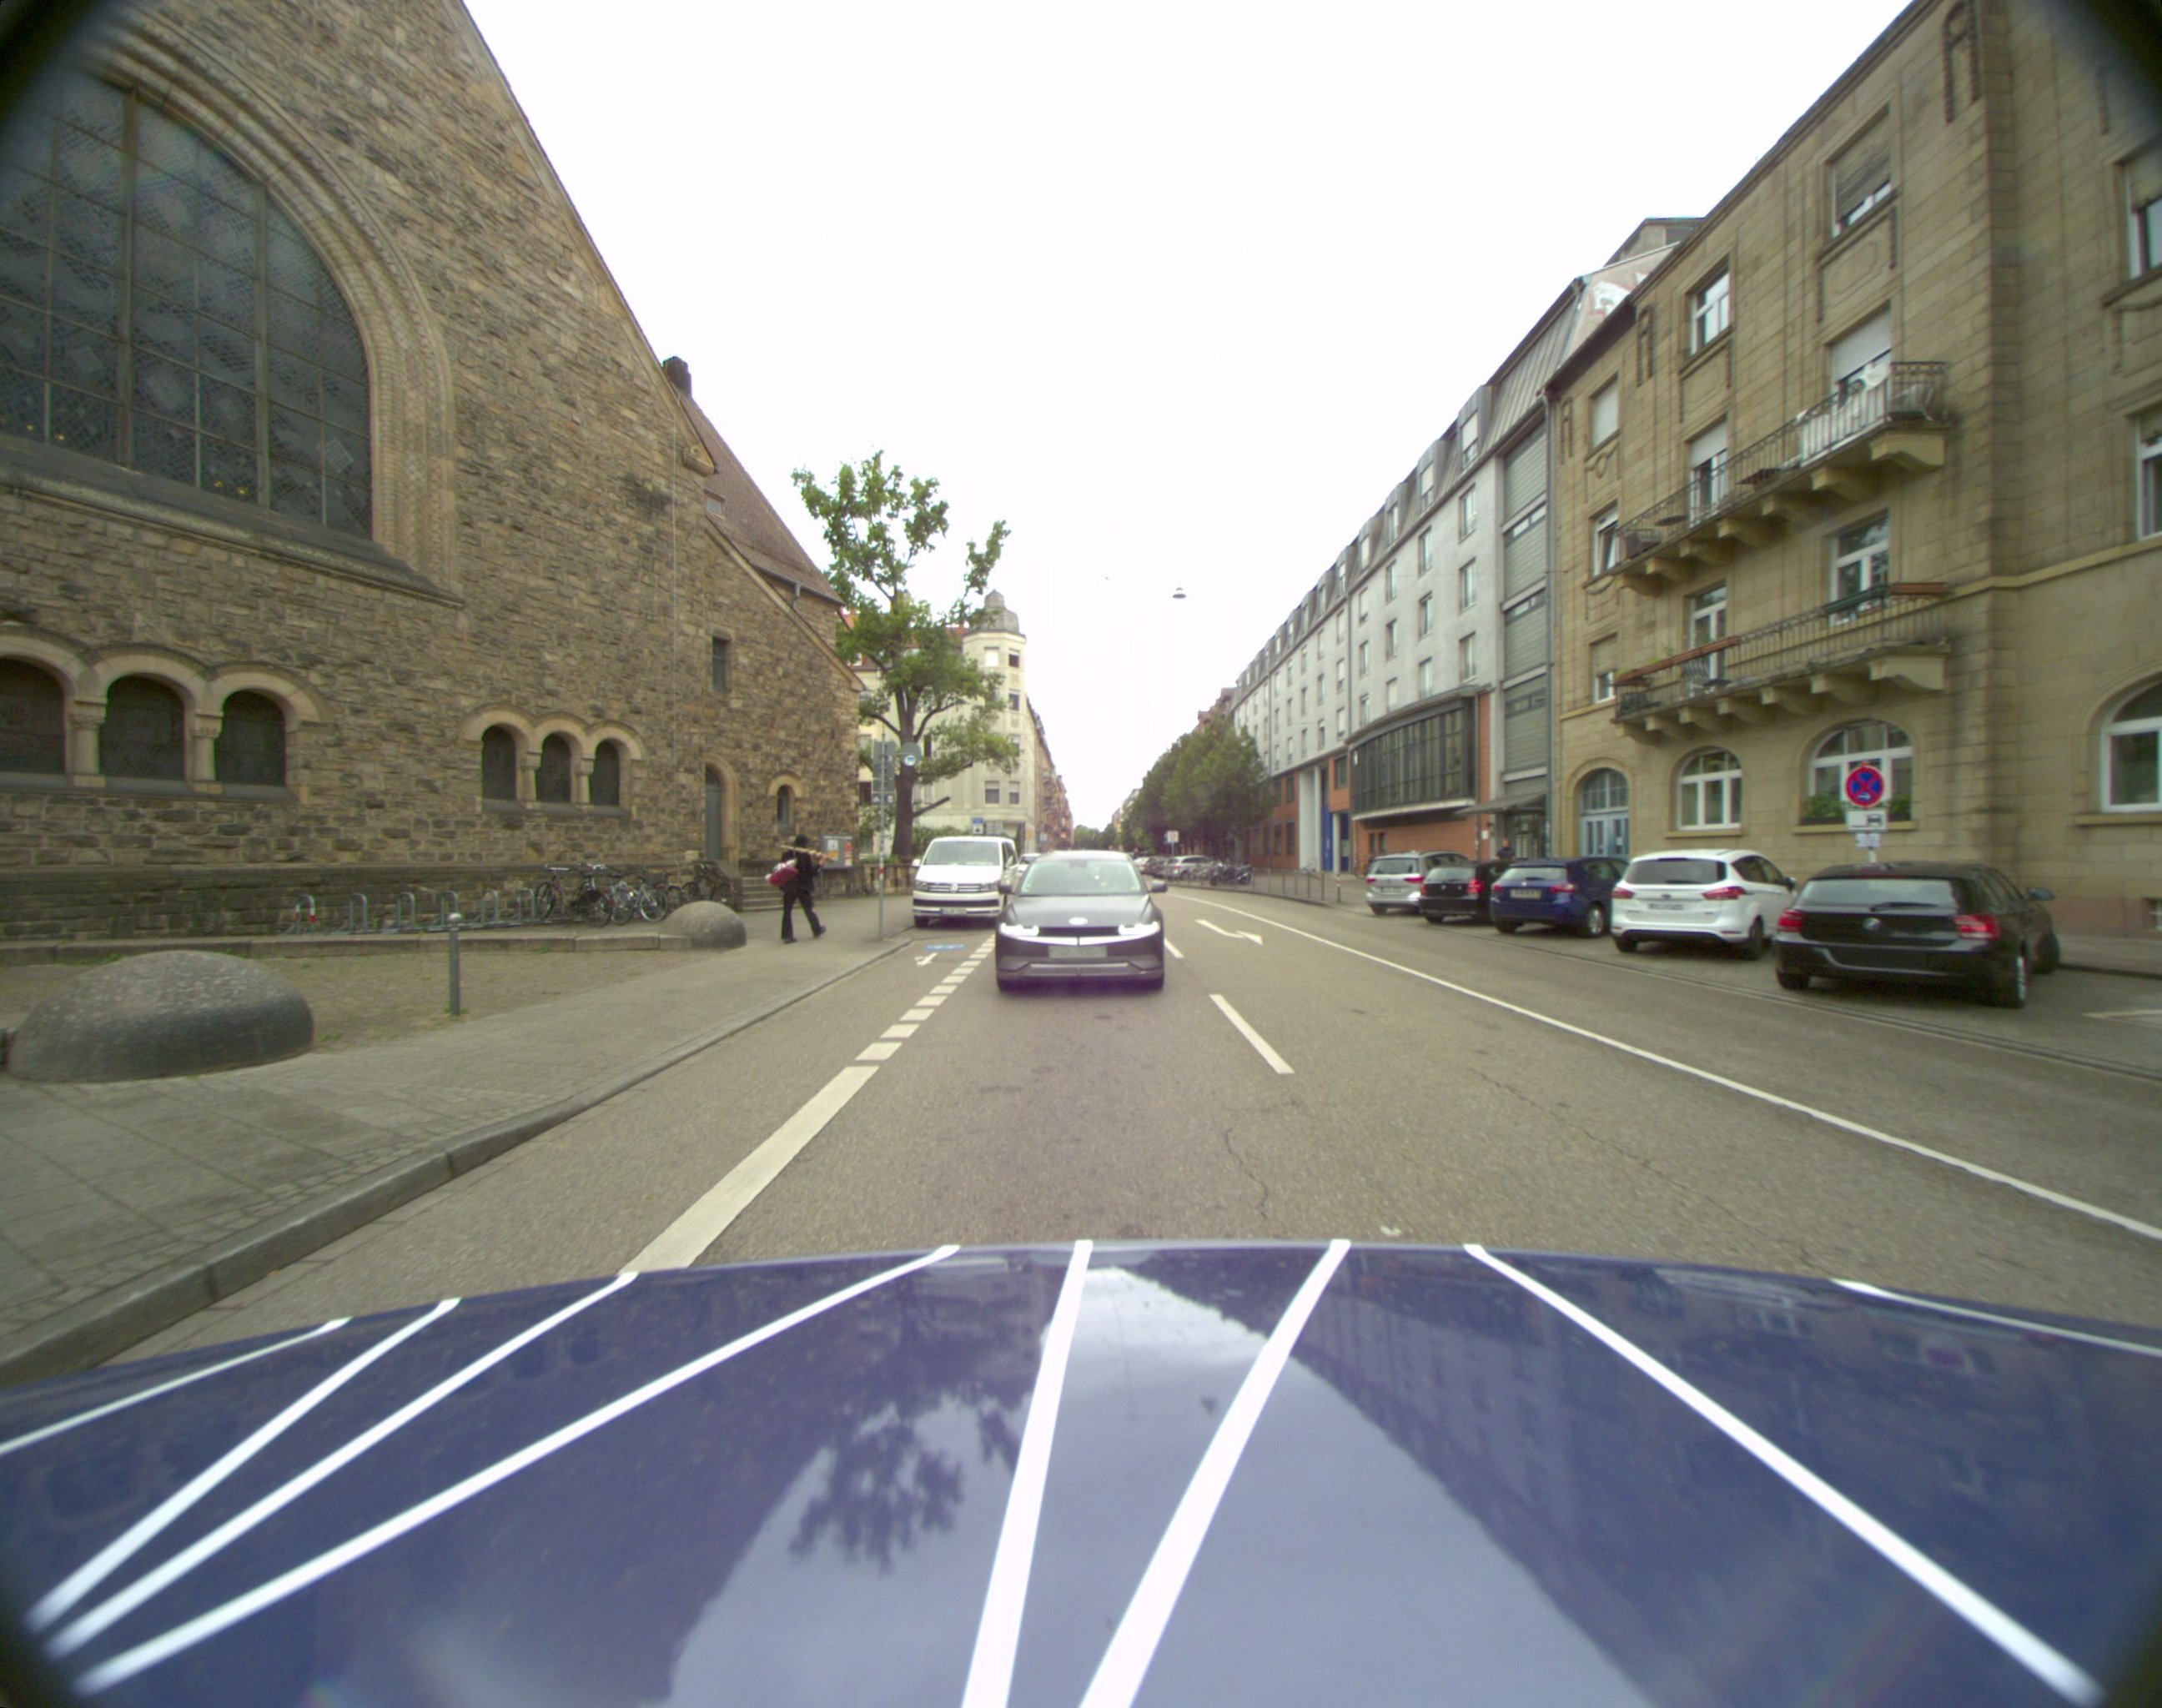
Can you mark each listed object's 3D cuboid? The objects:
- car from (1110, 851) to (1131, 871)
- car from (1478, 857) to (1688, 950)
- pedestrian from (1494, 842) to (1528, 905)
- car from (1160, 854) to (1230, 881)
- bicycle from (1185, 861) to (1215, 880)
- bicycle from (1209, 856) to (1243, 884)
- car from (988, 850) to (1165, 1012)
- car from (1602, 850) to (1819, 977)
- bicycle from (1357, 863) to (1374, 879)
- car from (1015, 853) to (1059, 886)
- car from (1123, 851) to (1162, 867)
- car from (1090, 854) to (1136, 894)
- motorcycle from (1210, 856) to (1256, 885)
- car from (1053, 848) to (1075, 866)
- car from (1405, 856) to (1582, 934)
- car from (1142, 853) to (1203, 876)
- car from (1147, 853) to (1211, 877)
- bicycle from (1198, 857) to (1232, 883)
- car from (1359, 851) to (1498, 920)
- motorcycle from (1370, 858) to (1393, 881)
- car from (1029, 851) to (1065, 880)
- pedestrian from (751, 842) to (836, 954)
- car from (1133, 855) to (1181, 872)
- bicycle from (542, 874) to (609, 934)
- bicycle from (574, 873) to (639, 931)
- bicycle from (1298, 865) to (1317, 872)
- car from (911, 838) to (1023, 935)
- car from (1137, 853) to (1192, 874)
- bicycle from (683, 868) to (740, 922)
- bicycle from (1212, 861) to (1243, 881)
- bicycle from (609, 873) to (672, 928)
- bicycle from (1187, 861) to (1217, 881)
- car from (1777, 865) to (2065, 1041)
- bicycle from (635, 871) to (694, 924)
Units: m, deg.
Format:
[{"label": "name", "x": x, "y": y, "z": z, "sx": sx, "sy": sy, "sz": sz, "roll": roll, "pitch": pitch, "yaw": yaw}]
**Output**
[{"label": "car", "x": 3.779, "y": 0.648, "z": 72.959, "sx": 1.698, "sy": 1.793, "sz": 4.129, "roll": 0, "pitch": 0, "yaw": -1}, {"label": "car", "x": 9.719, "y": 0.867, "z": 14.695, "sx": 3.754, "sy": 1.437, "sz": 1.820, "roll": -3, "pitch": 0, "yaw": -29}, {"label": "pedestrian", "x": 12.439, "y": 0.552, "z": 21.996, "sx": 0.621, "sy": 1.812, "sz": 0.642, "roll": 0, "pitch": 1, "yaw": 1}, {"label": "car", "x": 7.149, "y": 0.818, "z": 47.530, "sx": 4.004, "sy": 1.619, "sz": 1.769, "roll": 0, "pitch": 0, "yaw": -22}, {"label": "bicycle", "x": 6.834, "y": 0.952, "z": 43.553, "sx": 1.630, "sy": 1.067, "sz": 0.416, "roll": -2, "pitch": 1, "yaw": 0}, {"label": "bicycle", "x": 7.355, "y": 0.801, "z": 38.565, "sx": 1.630, "sy": 1.345, "sz": 0.416, "roll": -2, "pitch": 1, "yaw": 0}, {"label": "car", "x": -0.001, "y": 0.792, "z": 9.841, "sx": 1.820, "sy": 1.675, "sz": 4.000, "roll": 0, "pitch": 0, "yaw": 1}, {"label": "car", "x": 10.002, "y": 0.805, "z": 11.986, "sx": 4.007, "sy": 1.545, "sz": 1.699, "roll": -3, "pitch": 0, "yaw": -37}, {"label": "bicycle", "x": 14.404, "y": 0.836, "z": 38.468, "sx": 0.336, "sy": 0.783, "sz": 1.581, "roll": 0, "pitch": 0, "yaw": 2}, {"label": "car", "x": -2.098, "y": 0.729, "z": 37.357, "sx": 1.820, "sy": 1.556, "sz": 4.000, "roll": 0, "pitch": 0, "yaw": 1}, {"label": "car", "x": 7.125, "y": 0.561, "z": 88.426, "sx": 4.004, "sy": 1.897, "sz": 1.996, "roll": 0, "pitch": 0, "yaw": -22}, {"label": "car", "x": 1.424, "y": 0.827, "z": 33.511, "sx": 1.910, "sy": 1.597, "sz": 4.251, "roll": 0, "pitch": 1, "yaw": 3}, {"label": "motorcycle", "x": 7.495, "y": 0.820, "z": 37.573, "sx": 2.124, "sy": 1.345, "sz": 0.599, "roll": -2, "pitch": 1, "yaw": 2}, {"label": "car", "x": -1.549, "y": 0.260, "z": 69.672, "sx": 1.820, "sy": 1.556, "sz": 4.000, "roll": 0, "pitch": 0, "yaw": 1}, {"label": "car", "x": 9.512, "y": 0.870, "z": 17.443, "sx": 4.006, "sy": 1.430, "sz": 1.729, "roll": -3, "pitch": 0, "yaw": -31}, {"label": "car", "x": 6.740, "y": 0.754, "z": 56.183, "sx": 4.004, "sy": 1.619, "sz": 1.996, "roll": 0, "pitch": 0, "yaw": -22}, {"label": "car", "x": 6.900, "y": 0.777, "z": 53.411, "sx": 4.004, "sy": 1.619, "sz": 1.996, "roll": 0, "pitch": 0, "yaw": -22}, {"label": "bicycle", "x": 6.959, "y": 0.827, "z": 39.414, "sx": 1.630, "sy": 1.282, "sz": 0.416, "roll": -2, "pitch": 1, "yaw": 0}, {"label": "car", "x": 9.425, "y": 0.799, "z": 20.492, "sx": 4.007, "sy": 1.545, "sz": 1.729, "roll": -3, "pitch": 0, "yaw": -38}, {"label": "motorcycle", "x": 14.171, "y": 0.717, "z": 35.885, "sx": 0.446, "sy": 1.091, "sz": 1.763, "roll": 0, "pitch": 0, "yaw": 2}, {"label": "car", "x": -1.908, "y": 0.624, "z": 43.516, "sx": 1.820, "sy": 1.556, "sz": 4.000, "roll": 0, "pitch": 0, "yaw": 1}, {"label": "pedestrian", "x": -4.853, "y": 0.707, "z": 12.895, "sx": 0.814, "sy": 1.799, "sz": 1.021, "roll": 0, "pitch": 3, "yaw": 22}, {"label": "car", "x": 6.849, "y": 0.882, "z": 68.766, "sx": 4.004, "sy": 1.488, "sz": 1.735, "roll": 0, "pitch": 0, "yaw": -22}, {"label": "bicycle", "x": -9.305, "y": 0.903, "z": 13.968, "sx": 1.380, "sy": 1.054, "sz": 0.311, "roll": 0, "pitch": 1, "yaw": 23}, {"label": "bicycle", "x": -9.089, "y": 0.902, "z": 14.541, "sx": 1.380, "sy": 1.054, "sz": 0.311, "roll": 0, "pitch": 1, "yaw": 23}, {"label": "bicycle", "x": 14.025, "y": 0.914, "z": 47.115, "sx": 1.010, "sy": 0.434, "sz": 0.527, "roll": 0, "pitch": 2, "yaw": 3}, {"label": "car", "x": -2.441, "y": 0.635, "z": 17.594, "sx": 1.809, "sy": 1.908, "sz": 5.163, "roll": 0, "pitch": 0, "yaw": 0}, {"label": "car", "x": 6.843, "y": 0.746, "z": 62.128, "sx": 4.004, "sy": 1.619, "sz": 1.996, "roll": 0, "pitch": 0, "yaw": -22}, {"label": "bicycle", "x": -8.076, "y": 0.889, "z": 16.593, "sx": 1.340, "sy": 1.140, "sz": 0.311, "roll": 0, "pitch": 1, "yaw": 23}, {"label": "bicycle", "x": 8.118, "y": 0.949, "z": 42.097, "sx": 1.630, "sy": 1.067, "sz": 0.416, "roll": -2, "pitch": 1, "yaw": 0}, {"label": "bicycle", "x": -8.820, "y": 0.920, "z": 15.210, "sx": 1.380, "sy": 1.054, "sz": 0.311, "roll": 0, "pitch": 1, "yaw": 23}, {"label": "bicycle", "x": 6.846, "y": 0.959, "z": 43.098, "sx": 1.630, "sy": 1.067, "sz": 0.416, "roll": -2, "pitch": 1, "yaw": 0}, {"label": "car", "x": 9.611, "y": 0.915, "z": 8.621, "sx": 4.007, "sy": 1.409, "sz": 1.657, "roll": -2, "pitch": 1, "yaw": -34}, {"label": "bicycle", "x": -8.701, "y": 0.890, "z": 15.871, "sx": 1.340, "sy": 1.054, "sz": 0.311, "roll": 0, "pitch": 1, "yaw": 23}]
